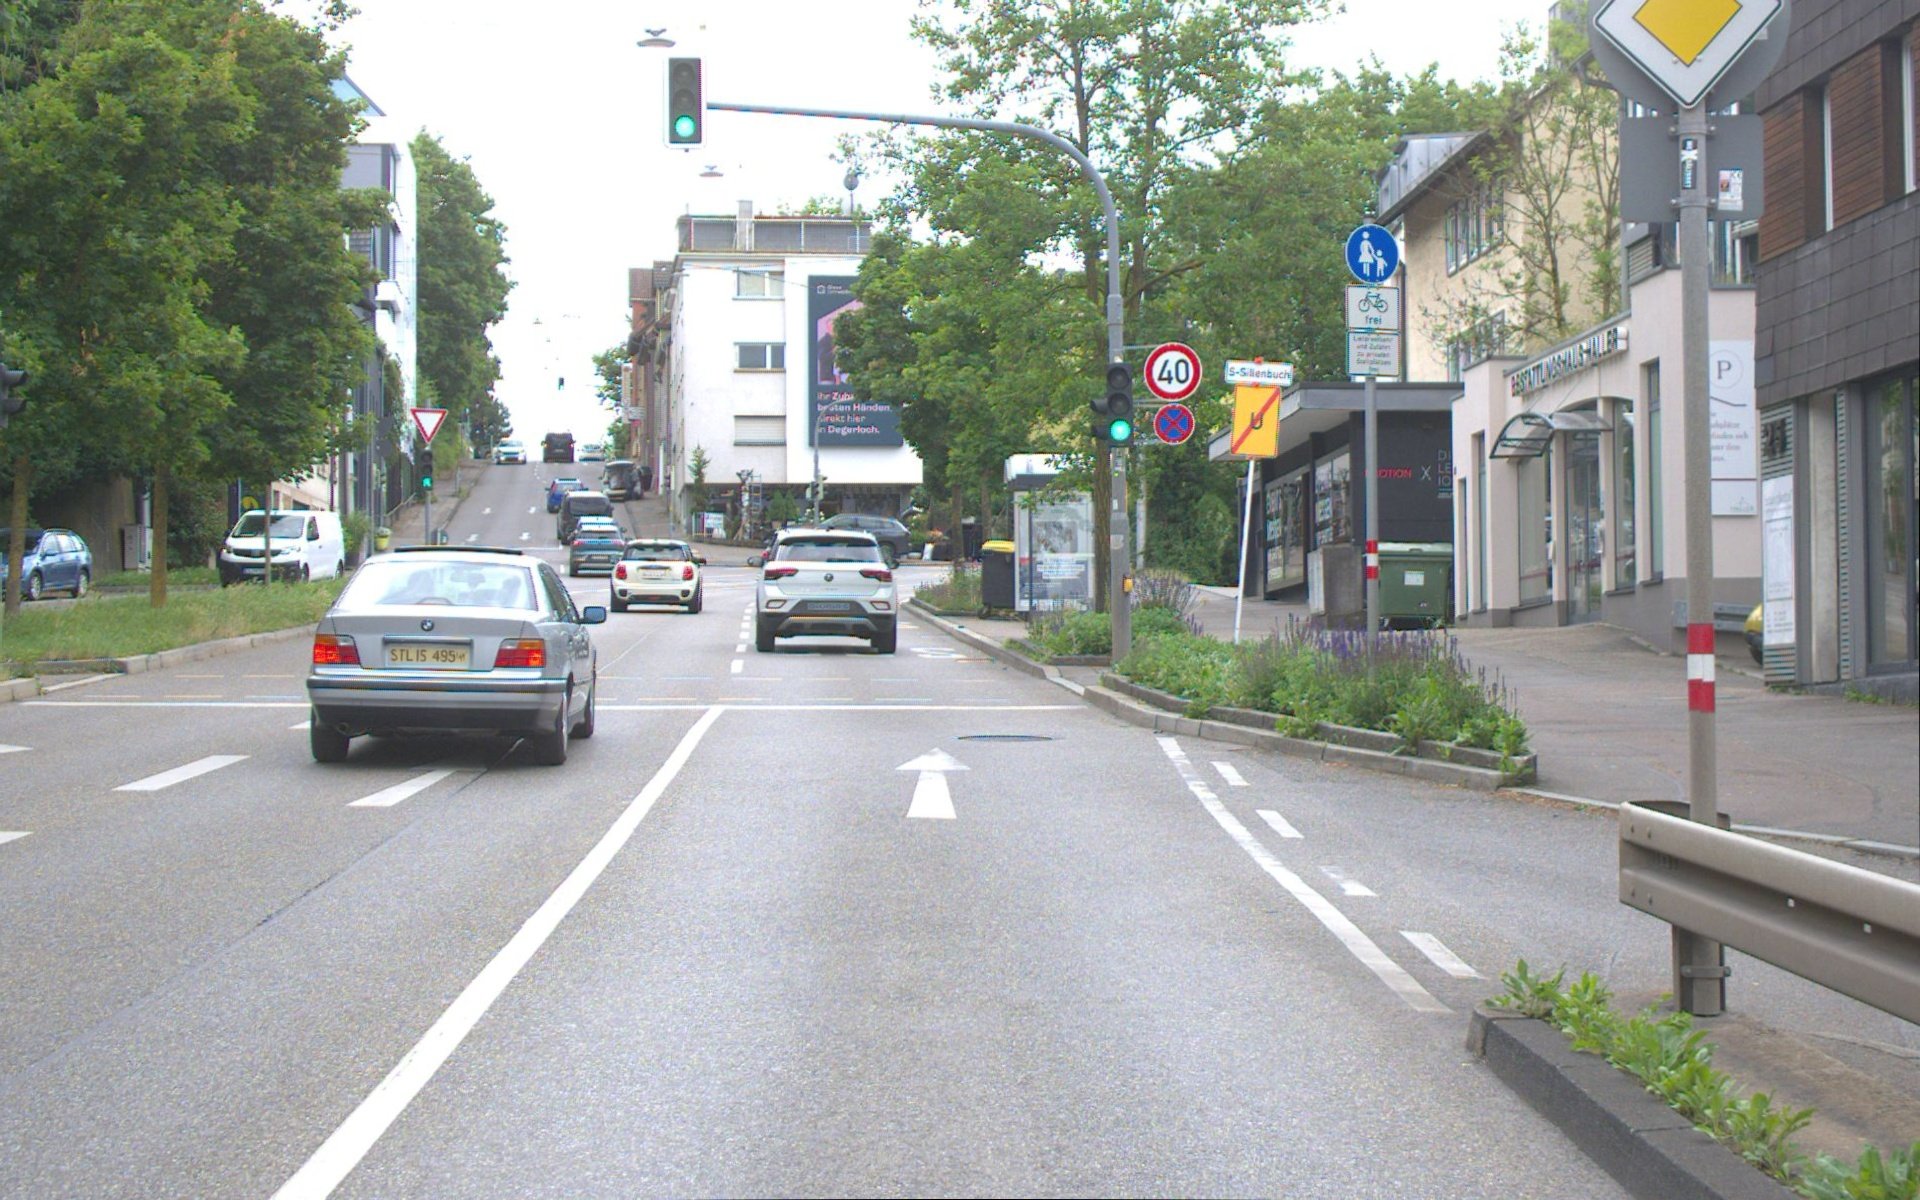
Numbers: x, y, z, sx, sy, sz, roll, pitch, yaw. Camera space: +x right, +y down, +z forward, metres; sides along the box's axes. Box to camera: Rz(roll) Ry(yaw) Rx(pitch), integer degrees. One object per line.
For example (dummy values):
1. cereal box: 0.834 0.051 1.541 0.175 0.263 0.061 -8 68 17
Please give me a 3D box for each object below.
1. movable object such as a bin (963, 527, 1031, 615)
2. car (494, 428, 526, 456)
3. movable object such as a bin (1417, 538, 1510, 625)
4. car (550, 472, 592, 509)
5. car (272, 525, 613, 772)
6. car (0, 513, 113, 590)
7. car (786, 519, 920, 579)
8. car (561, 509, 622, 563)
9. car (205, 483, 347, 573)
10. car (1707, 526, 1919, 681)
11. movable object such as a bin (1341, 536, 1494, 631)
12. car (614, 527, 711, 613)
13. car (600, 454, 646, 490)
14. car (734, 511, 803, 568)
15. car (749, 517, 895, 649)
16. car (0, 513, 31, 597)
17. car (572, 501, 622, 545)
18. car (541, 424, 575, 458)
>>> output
1. movable object such as a bin: 0.624 -0.514 59.199 1.085 1.476 1.537 1 1 -2
2. car: -27.367 -9.620 209.338 1.882 1.562 4.391 0 4 -7
3. movable object such as a bin: 8.329 -0.306 56.878 1.340 1.404 1.128 1 1 -1
4. car: -16.949 -4.769 149.774 1.779 1.573 4.001 1 2 -6
5. car: -3.390 0.254 23.189 1.706 1.459 4.000 1 2 -1
6. car: -19.300 -1.048 71.977 1.712 1.523 4.300 1 2 5
7. car: -3.961 -1.877 126.672 4.687 1.706 2.319 5 4 -6
8. car: -11.338 -1.984 105.680 1.779 1.573 4.001 1 2 -6
9. car: -15.620 -1.660 78.731 1.939 1.951 5.021 1 2 4
10. car: 10.068 0.083 38.051 2.989 1.459 1.667 6 2 -8
11. movable object such as a bin: 7.384 -0.299 55.880 1.888 1.447 4.000 1 1 -1
12. car: -5.862 -0.620 67.519 1.779 1.573 4.001 1 2 -6
13. car: -15.757 -5.979 160.902 2.089 1.607 4.001 0 1 -5
14. car: -5.119 -1.638 92.136 1.779 1.431 4.001 1 2 -3
15. car: -1.836 -0.259 44.639 1.779 1.573 4.001 1 2 -4
16. car: -19.694 -0.871 66.254 1.781 1.623 4.168 2 2 11
17. car: -13.415 -2.860 127.027 1.779 1.573 4.001 1 2 -6
18. car: -24.796 -9.806 212.192 1.993 2.006 4.001 1 2 -7
